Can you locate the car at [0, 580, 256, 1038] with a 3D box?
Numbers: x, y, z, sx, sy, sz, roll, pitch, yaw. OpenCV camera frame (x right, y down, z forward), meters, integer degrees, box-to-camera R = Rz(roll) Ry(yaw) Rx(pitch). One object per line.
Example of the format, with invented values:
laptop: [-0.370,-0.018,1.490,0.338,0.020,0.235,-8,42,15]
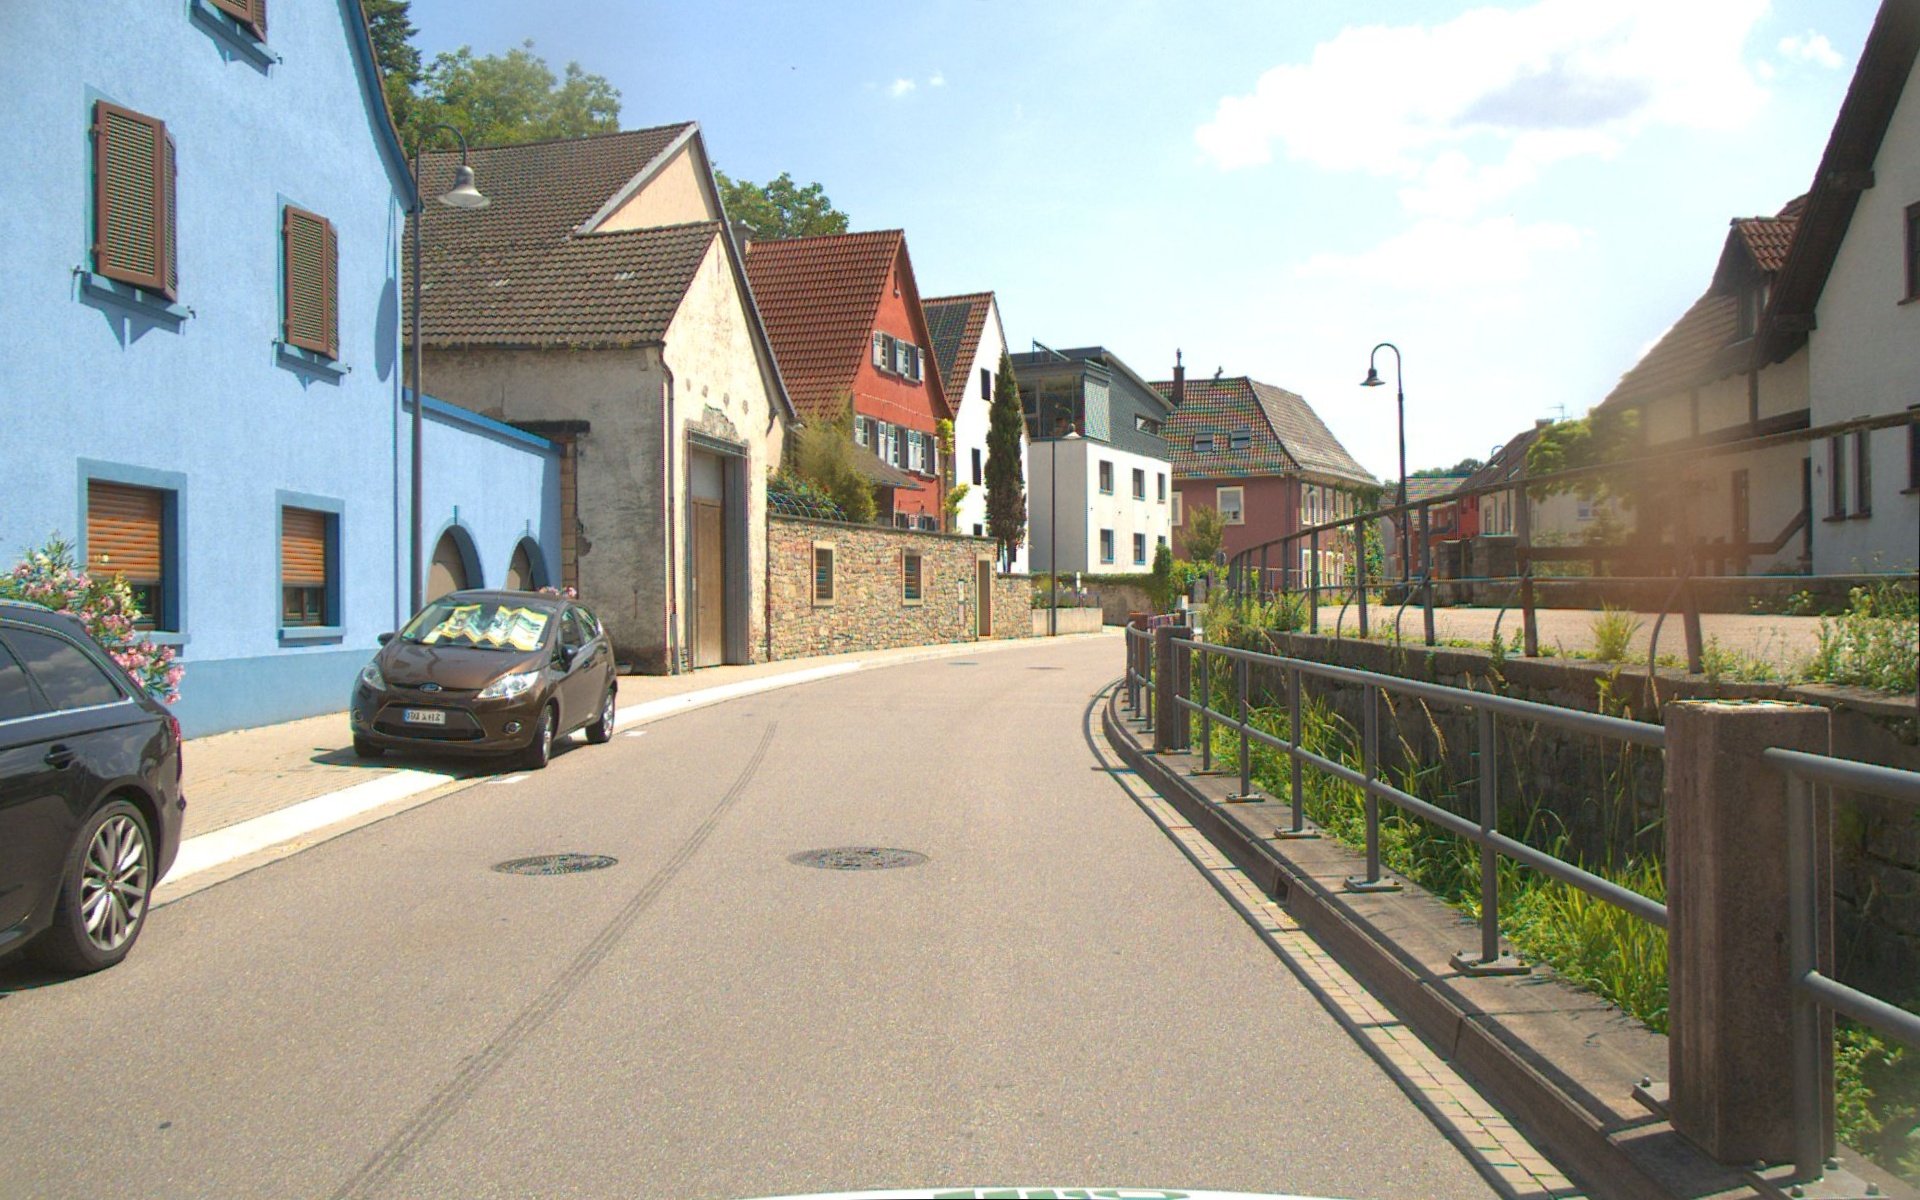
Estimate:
car: [-4.131,0.697,5.073,1.846,1.489,4.669,2,1,1]

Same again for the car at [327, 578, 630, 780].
car: [-4.287,0.631,15.349,1.682,1.556,3.855,3,0,-1]
